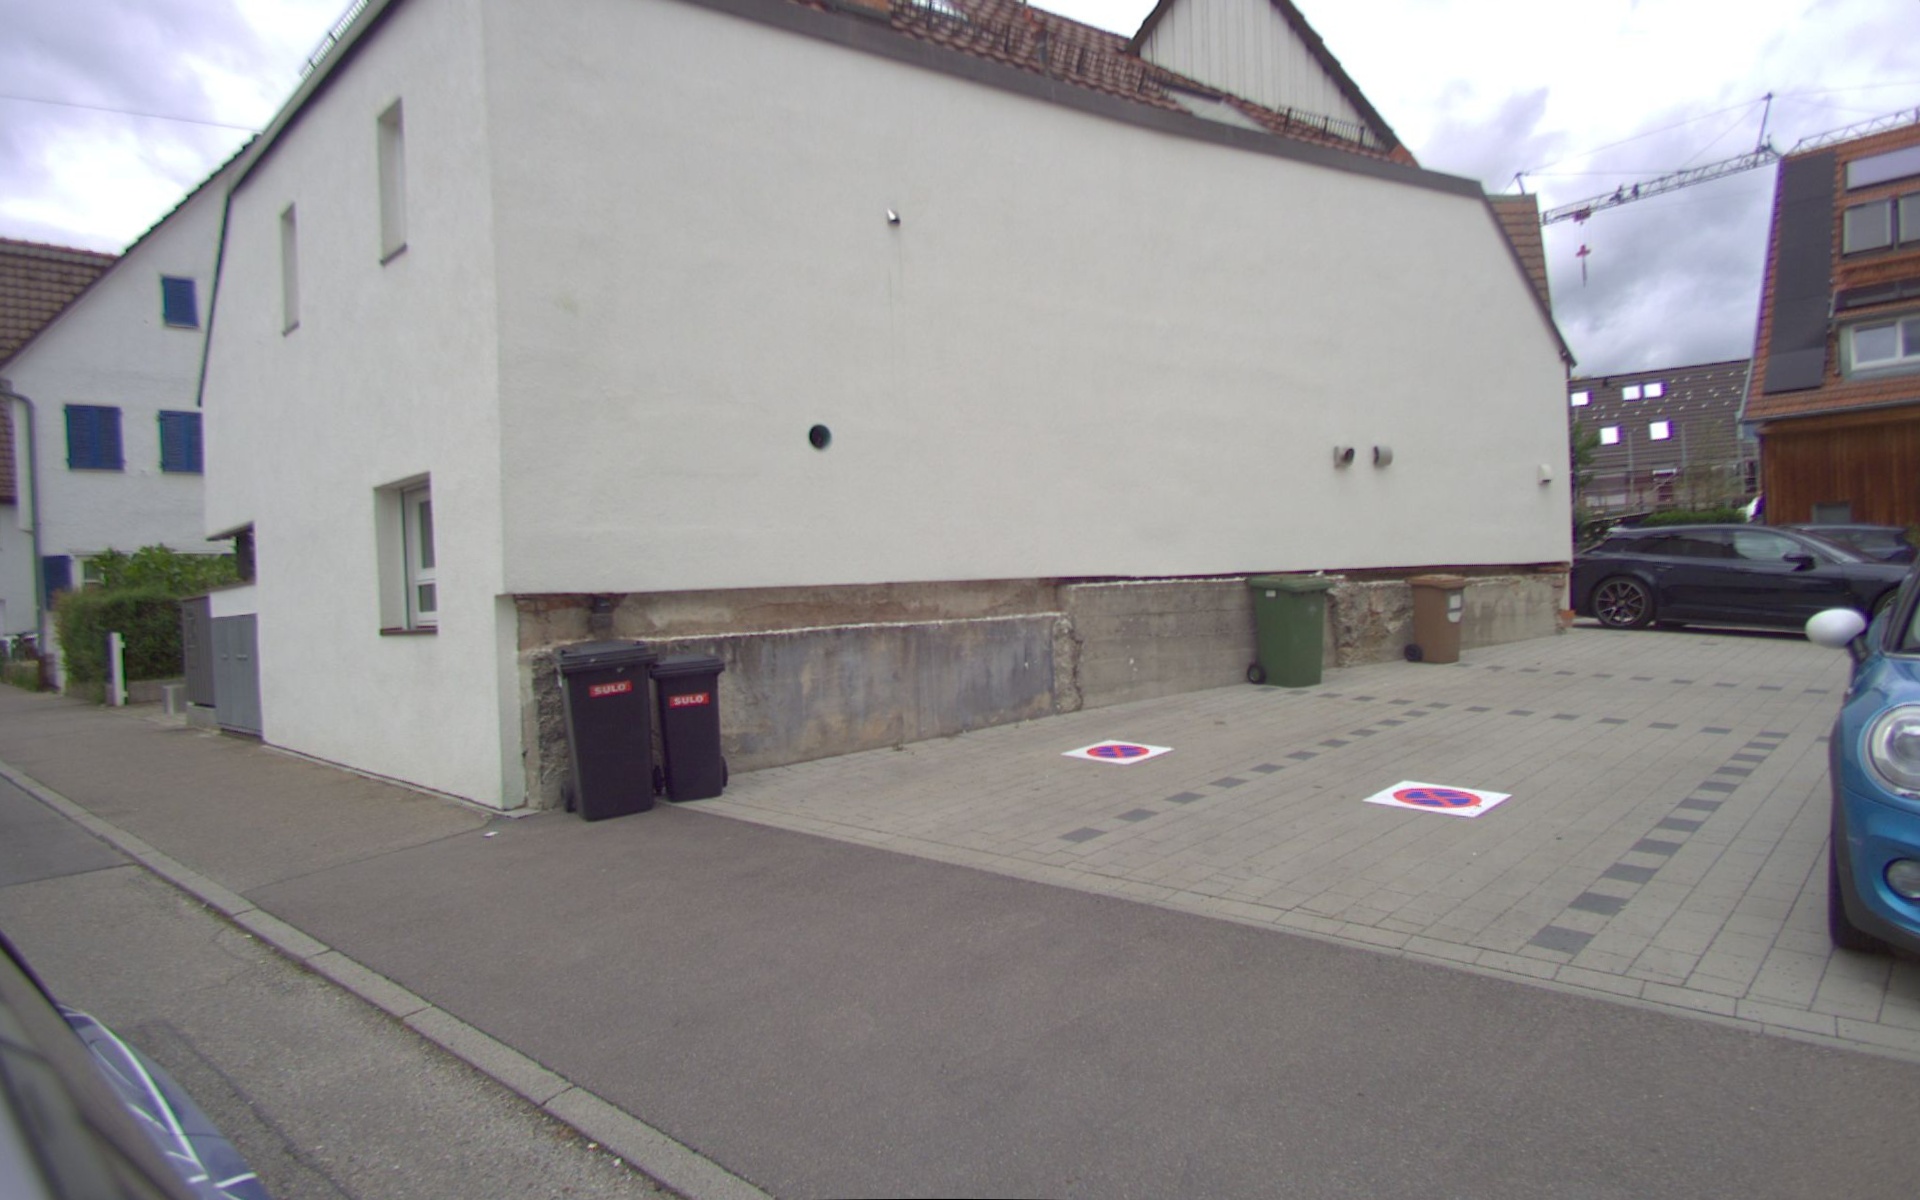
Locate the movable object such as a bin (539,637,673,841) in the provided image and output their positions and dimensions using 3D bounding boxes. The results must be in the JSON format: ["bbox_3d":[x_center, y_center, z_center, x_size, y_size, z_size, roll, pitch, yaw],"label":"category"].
[{"bbox_3d":[-2.194,0.812,6.239,0.606,1.083,0.755,-4,2,-28],"label":"movable object such as a bin"}]

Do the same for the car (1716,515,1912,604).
[{"bbox_3d":[17.331,-0.814,20.713,2.892,1.639,1.720,-2,2,35],"label":"car"}]

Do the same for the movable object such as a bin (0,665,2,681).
[{"bbox_3d":[-25.030,1.619,25.948,0.546,1.007,0.587,-8,2,-40],"label":"movable object such as a bin"}]

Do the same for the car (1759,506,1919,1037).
[{"bbox_3d":[4.349,0.344,3.516,2.121,1.422,3.690,0,4,44],"label":"car"}]

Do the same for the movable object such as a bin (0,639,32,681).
[{"bbox_3d":[-24.751,1.572,26.488,0.562,1.007,0.600,-8,2,-41],"label":"movable object such as a bin"}]

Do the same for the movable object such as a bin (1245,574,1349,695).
[{"bbox_3d":[3.222,0.311,9.698,0.546,1.083,0.727,-3,2,-30],"label":"movable object such as a bin"}]

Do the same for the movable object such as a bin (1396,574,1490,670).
[{"bbox_3d":[5.127,0.218,10.749,0.546,0.958,0.694,-2,1,-29],"label":"movable object such as a bin"}]

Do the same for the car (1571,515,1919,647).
[{"bbox_3d":[10.368,-0.269,12.424,1.767,1.416,4.589,-1,3,-32],"label":"car"}]

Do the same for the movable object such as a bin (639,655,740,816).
[{"bbox_3d":[-1.762,0.853,6.576,0.443,0.911,0.573,-6,3,-28],"label":"movable object such as a bin"}]

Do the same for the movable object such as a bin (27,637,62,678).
[{"bbox_3d":[-24.292,1.515,26.851,0.549,1.007,0.623,-10,4,-40],"label":"movable object such as a bin"}]

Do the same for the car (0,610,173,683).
[{"bbox_3d":[-26.136,1.317,29.547,1.973,1.510,4.502,1,7,34],"label":"car"}]

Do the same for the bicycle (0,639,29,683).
[{"bbox_3d":[-23.887,1.517,25.388,0.437,1.046,2.097,-7,2,-36],"label":"bicycle"}]
